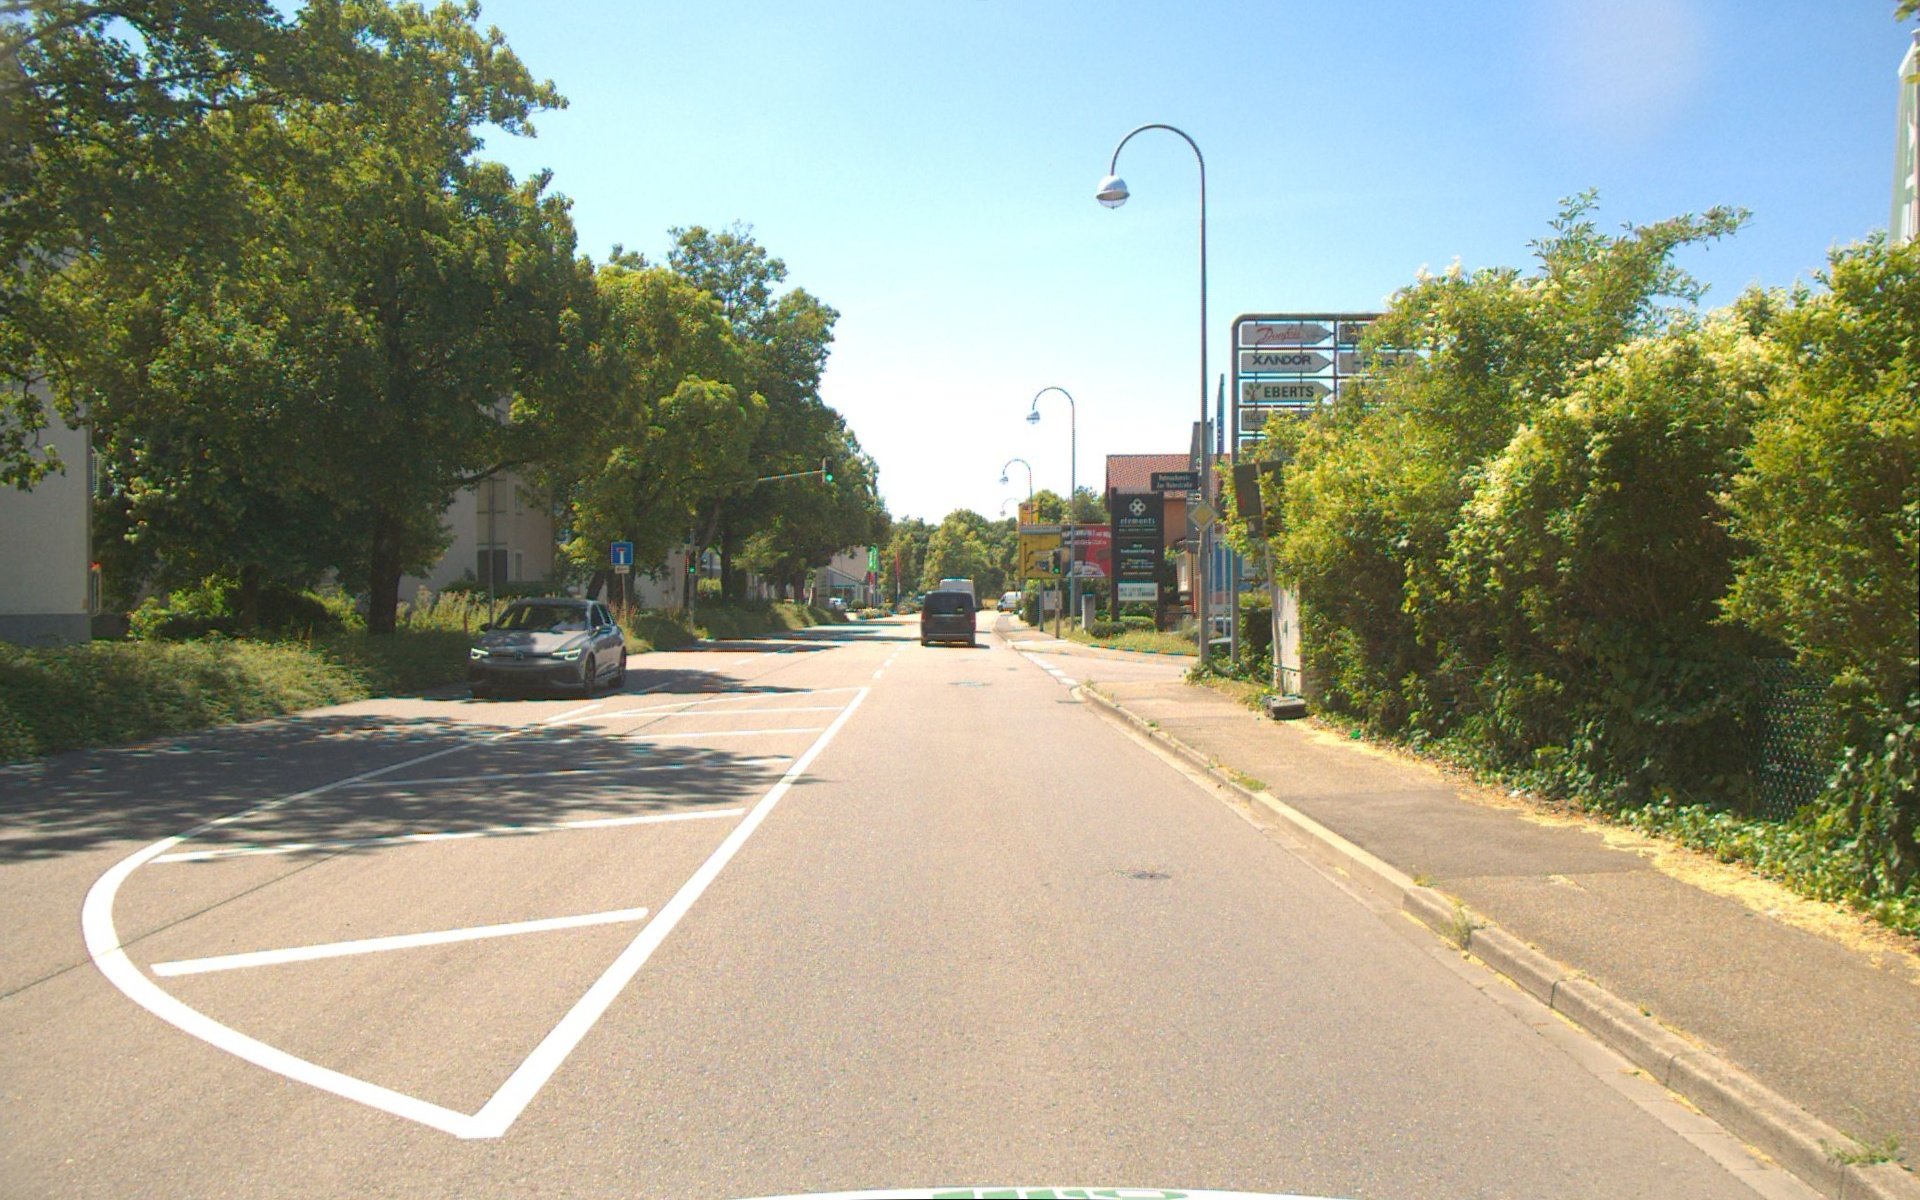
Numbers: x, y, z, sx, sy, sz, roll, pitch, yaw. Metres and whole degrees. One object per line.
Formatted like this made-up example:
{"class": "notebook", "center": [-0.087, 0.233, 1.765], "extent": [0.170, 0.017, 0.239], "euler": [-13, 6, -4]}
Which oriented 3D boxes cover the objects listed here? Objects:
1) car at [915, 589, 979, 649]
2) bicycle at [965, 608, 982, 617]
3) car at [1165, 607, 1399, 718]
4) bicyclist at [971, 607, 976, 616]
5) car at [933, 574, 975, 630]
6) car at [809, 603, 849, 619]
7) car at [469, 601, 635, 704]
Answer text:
{"class": "car", "center": [-0.481, 0.615, 56.263], "extent": [1.954, 1.926, 3.998], "euler": [1, 0, -3]}
{"class": "bicycle", "center": [1.463, 1.311, 175.304], "extent": [1.686, 0.902, 0.556], "euler": [-1, 2, -14]}
{"class": "car", "center": [5.893, 1.138, 30.420], "extent": [3.983, 1.540, 1.857], "euler": [6, -1, 11]}
{"class": "bicyclist", "center": [1.456, 1.225, 175.300], "extent": [0.460, 0.868, 0.556], "euler": [-1, 2, -13]}
{"class": "car", "center": [-0.277, 0.088, 84.478], "extent": [2.076, 2.724, 5.662], "euler": [1, 0, 0]}
{"class": "car", "center": [-14.316, 1.204, 181.038], "extent": [3.902, 1.691, 2.002], "euler": [1, 0, 10]}
{"class": "car", "center": [-6.266, 0.769, 25.853], "extent": [1.687, 1.452, 4.145], "euler": [1, 0, -2]}
